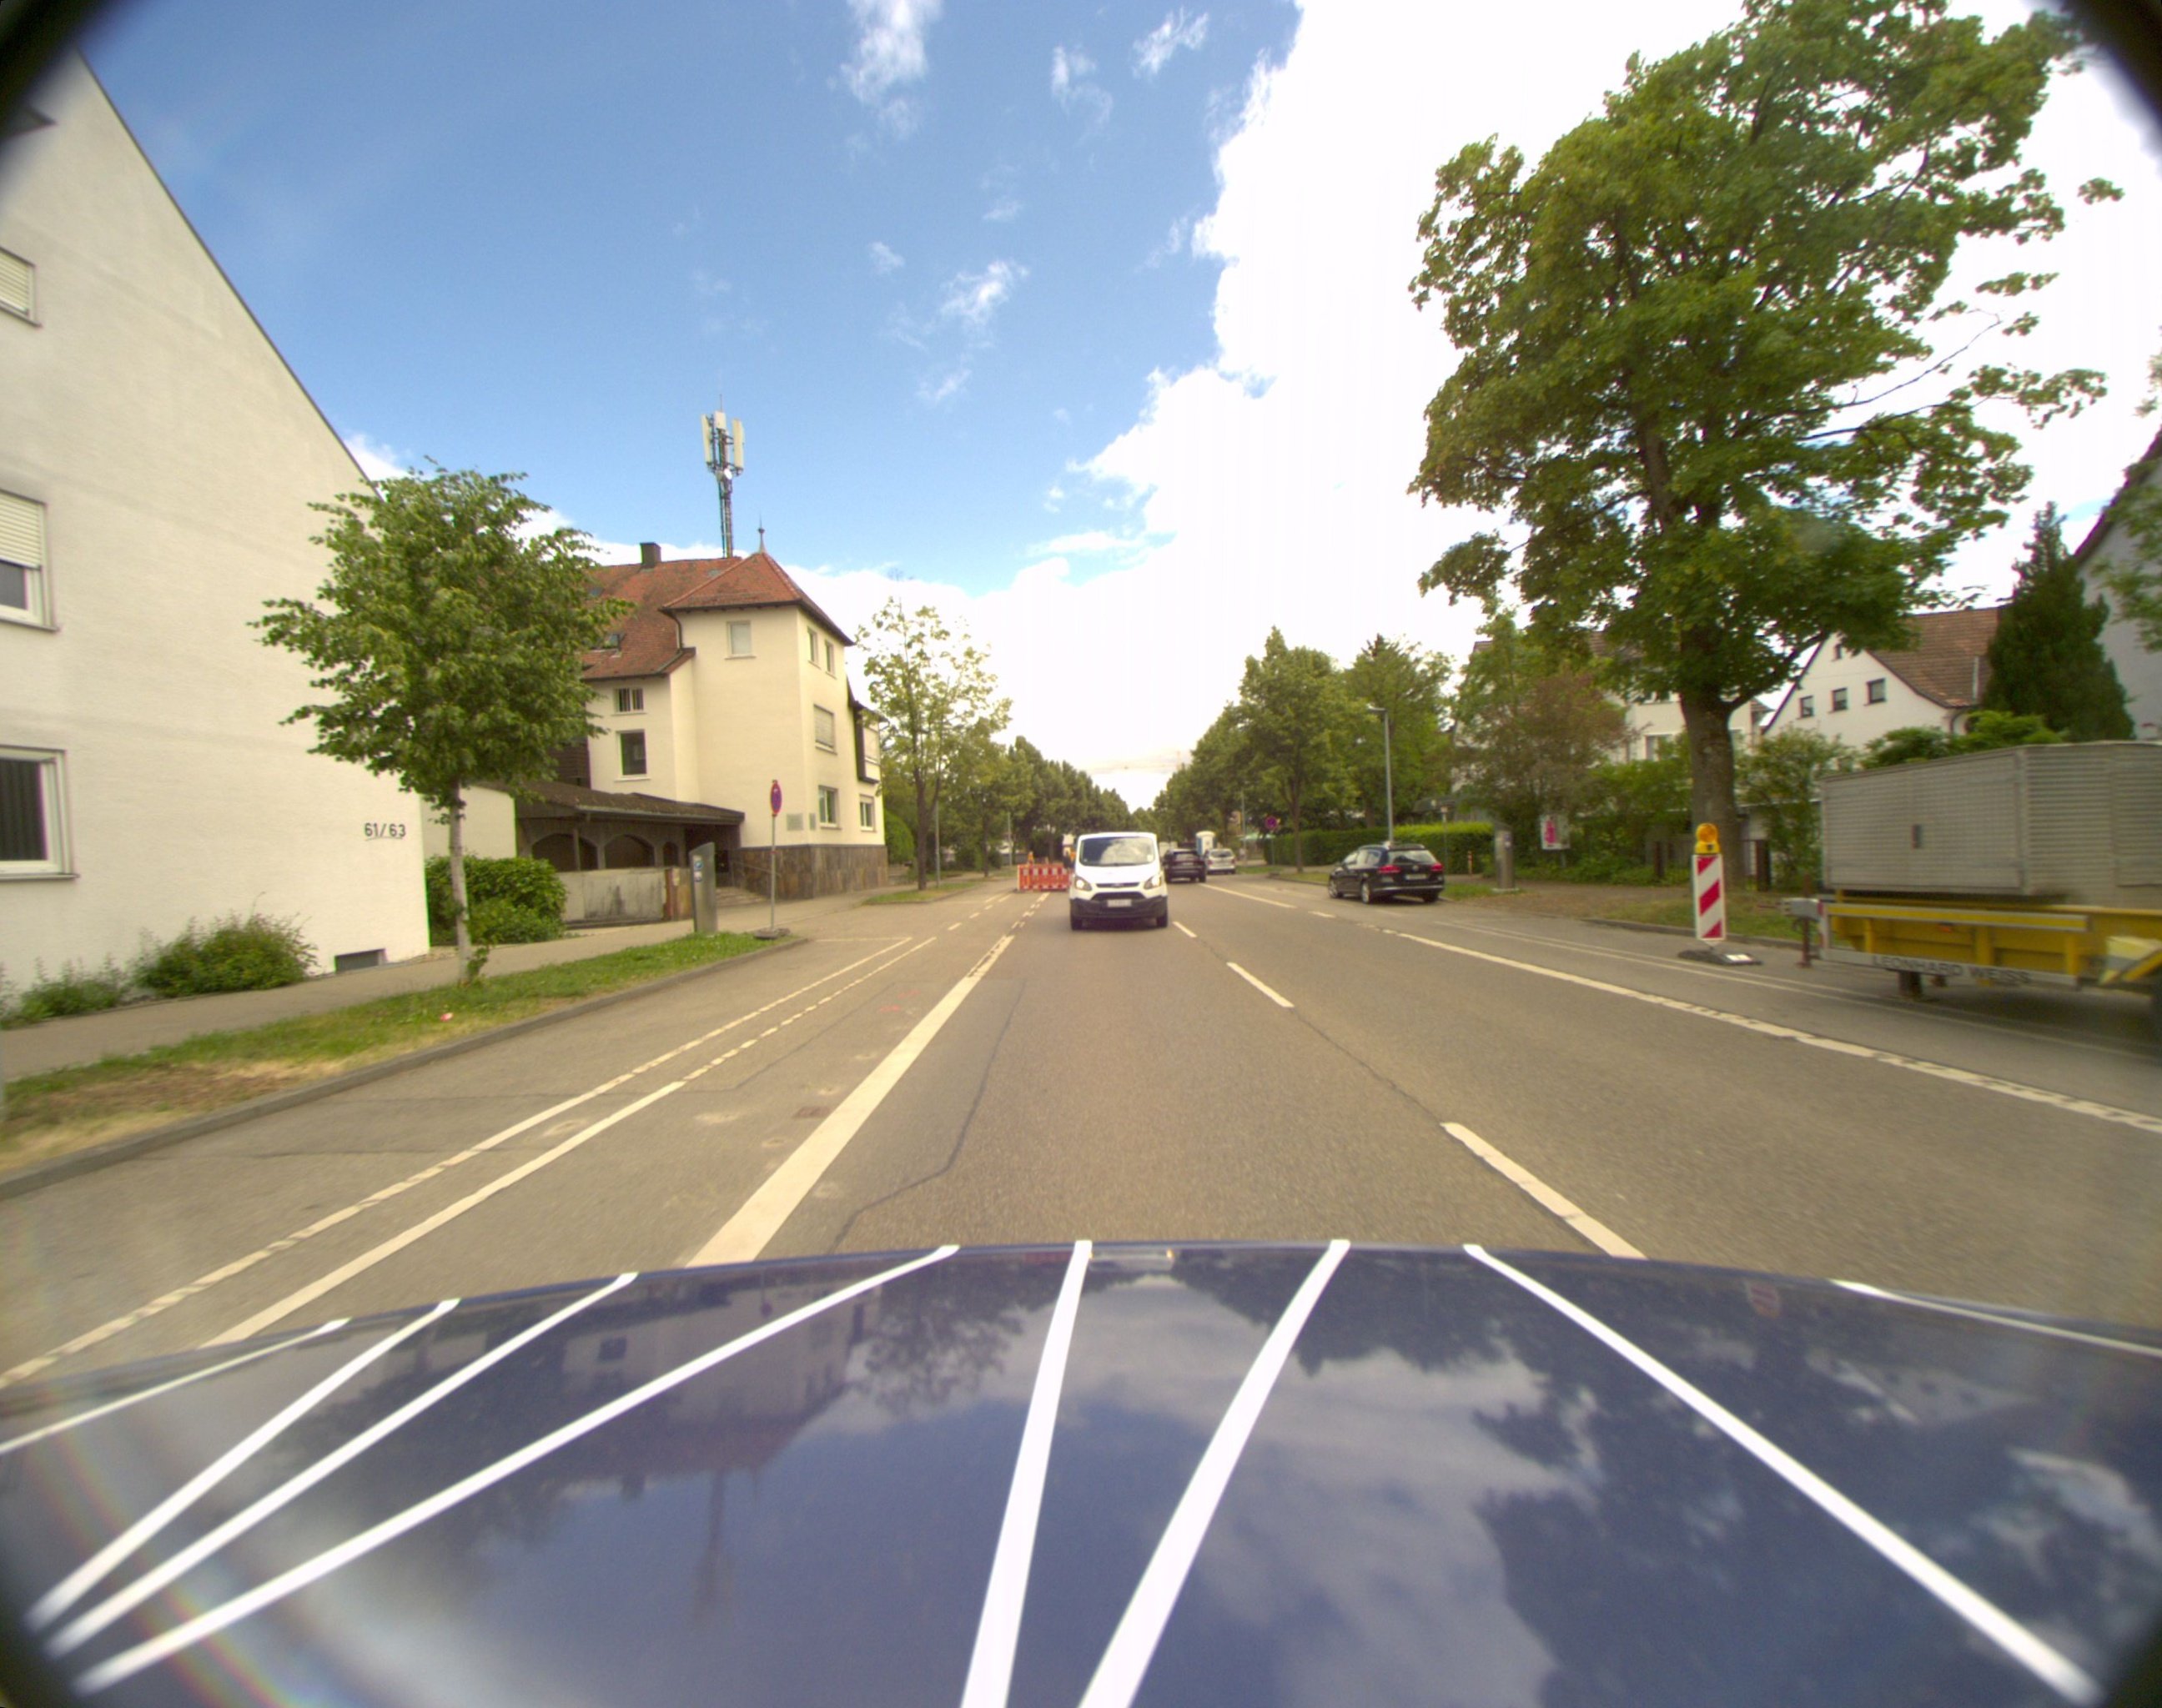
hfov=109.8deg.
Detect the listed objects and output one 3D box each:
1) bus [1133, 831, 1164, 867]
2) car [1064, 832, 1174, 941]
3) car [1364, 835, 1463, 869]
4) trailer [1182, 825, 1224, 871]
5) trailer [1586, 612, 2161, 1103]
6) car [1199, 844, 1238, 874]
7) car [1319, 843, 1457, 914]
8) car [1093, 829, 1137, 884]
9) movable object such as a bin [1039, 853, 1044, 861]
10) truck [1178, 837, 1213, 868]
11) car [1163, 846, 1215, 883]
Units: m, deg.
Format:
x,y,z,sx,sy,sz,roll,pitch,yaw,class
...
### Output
x,y,z,sx,sy,sz,roll,pitch,yaw,class
7.046,-0.645,79.303,2.811,3.269,18.048,-1,1,5,bus
0.846,0.593,17.093,1.998,2.002,5.319,-2,0,3,car
16.351,-0.095,37.566,4.087,1.424,1.802,-4,0,9,car
8.483,-0.417,53.570,2.377,2.946,7.012,-2,0,5,trailer
7.752,-0.051,5.798,2.680,2.924,7.473,-3,1,-1,trailer
8.462,0.291,46.958,1.693,1.674,4.225,-3,1,2,car
8.125,0.552,20.606,1.865,1.544,4.618,-3,2,1,car
1.715,0.115,38.849,1.998,2.584,4.000,-3,0,2,car
-5.648,0.458,107.879,0.499,1.038,0.520,-2,1,19,movable object such as a bin
9.036,-0.119,60.282,2.300,2.274,6.465,-2,0,5,truck
5.198,0.482,37.216,1.998,1.658,4.589,-1,0,2,car
